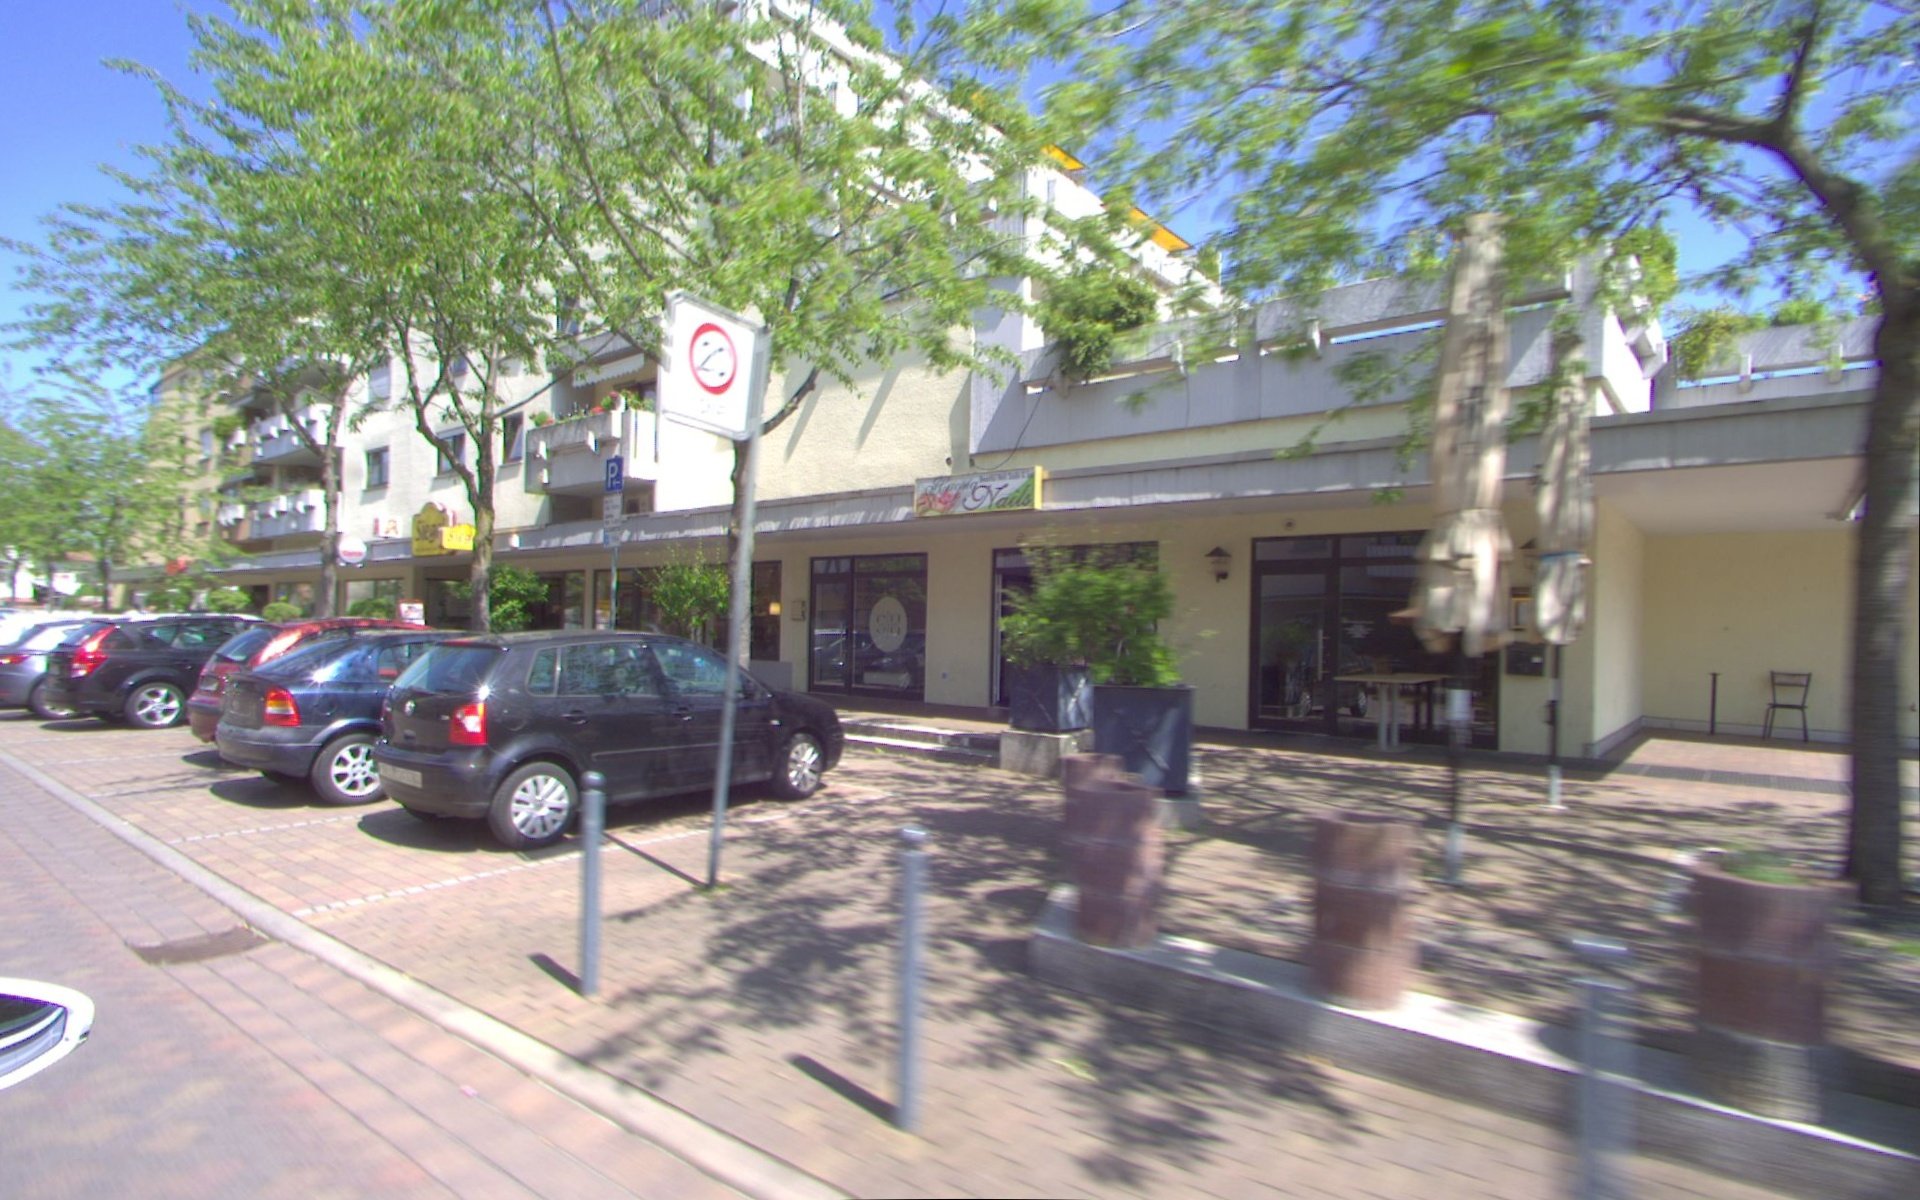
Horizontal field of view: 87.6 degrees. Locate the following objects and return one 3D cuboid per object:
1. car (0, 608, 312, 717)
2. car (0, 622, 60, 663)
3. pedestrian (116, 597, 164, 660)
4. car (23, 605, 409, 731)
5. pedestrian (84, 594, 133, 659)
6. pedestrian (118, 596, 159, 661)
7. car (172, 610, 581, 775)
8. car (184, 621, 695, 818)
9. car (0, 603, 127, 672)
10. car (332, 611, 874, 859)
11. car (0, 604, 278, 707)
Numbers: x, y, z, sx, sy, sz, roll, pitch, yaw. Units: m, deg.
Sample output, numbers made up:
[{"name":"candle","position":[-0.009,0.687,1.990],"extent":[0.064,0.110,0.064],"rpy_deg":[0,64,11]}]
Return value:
[{"name":"car","position":[-12.690,0.934,15.747],"extent":[1.697,1.508,3.916],"rpy_deg":[0,-2,44]},{"name":"car","position":[-27.769,1.192,28.107],"extent":[1.256,1.156,3.514],"rpy_deg":[0,-2,35]},{"name":"pedestrian","position":[-24.300,0.836,29.680],"extent":[0.795,1.810,0.836],"rpy_deg":[2,-1,33]},{"name":"car","position":[-10.727,0.915,14.730],"extent":[1.920,1.561,4.171],"rpy_deg":[0,-2,35]},{"name":"pedestrian","position":[-24.367,0.767,28.653],"extent":[0.795,1.810,0.836],"rpy_deg":[2,-1,33]},{"name":"pedestrian","position":[-23.260,0.801,28.374],"extent":[0.831,1.810,0.800],"rpy_deg":[2,-1,-39]},{"name":"car","position":[-6.526,0.915,11.516],"extent":[1.743,1.555,3.708],"rpy_deg":[1,0,39]},{"name":"car","position":[-4.823,0.959,9.782],"extent":[1.761,1.450,4.081],"rpy_deg":[1,0,38]},{"name":"car","position":[-23.242,0.896,24.438],"extent":[1.538,1.636,4.230],"rpy_deg":[0,-2,38]},{"name":"car","position":[-2.691,0.901,8.338],"extent":[1.750,1.529,3.945],"rpy_deg":[0,-1,37]},{"name":"car","position":[-14.637,0.936,17.530],"extent":[1.738,1.594,4.136],"rpy_deg":[1,-1,40]}]
